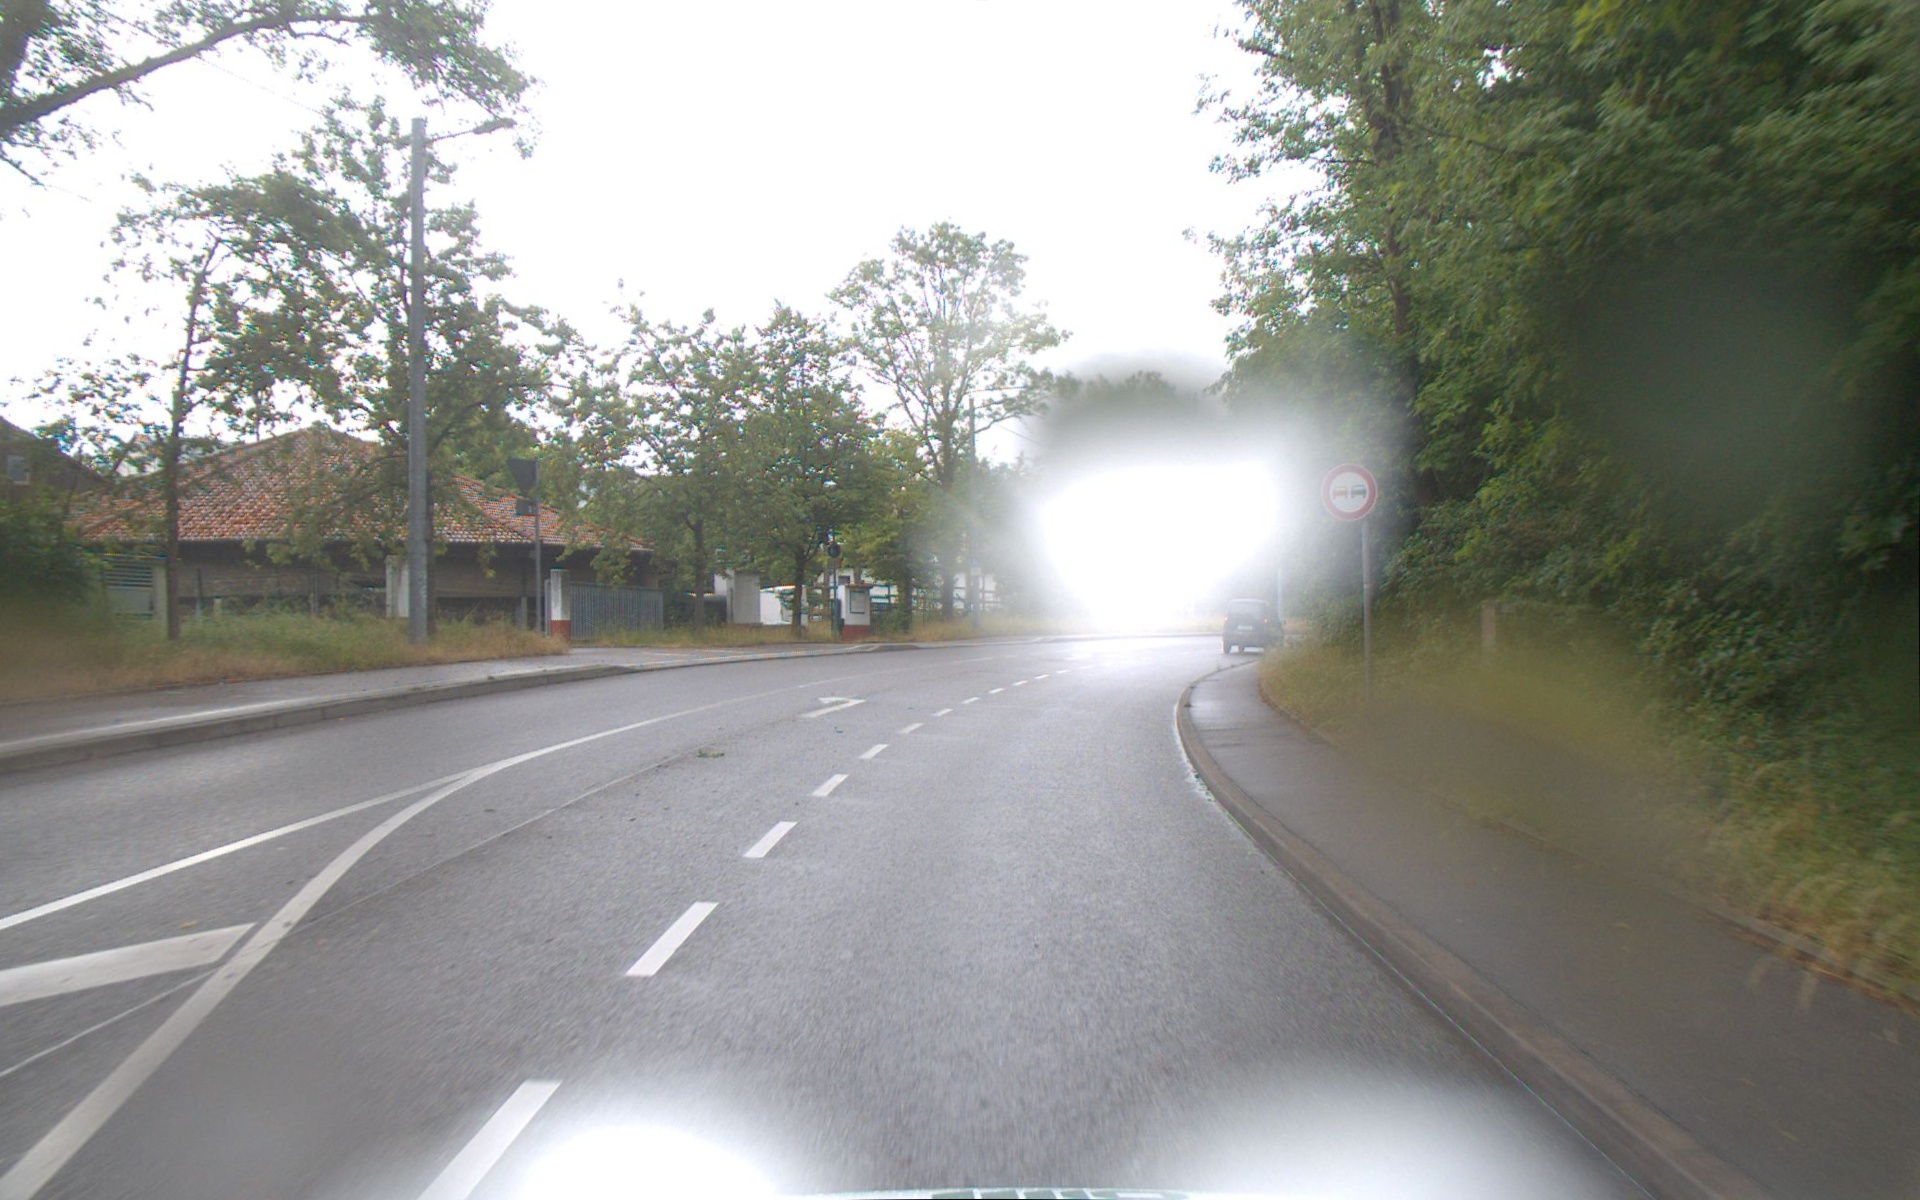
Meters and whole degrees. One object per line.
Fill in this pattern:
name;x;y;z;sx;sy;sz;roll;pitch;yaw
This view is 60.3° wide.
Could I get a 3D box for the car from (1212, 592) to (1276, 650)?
car;9.978;0.736;57.913;1.788;1.825;4.003;-5;-2;14
